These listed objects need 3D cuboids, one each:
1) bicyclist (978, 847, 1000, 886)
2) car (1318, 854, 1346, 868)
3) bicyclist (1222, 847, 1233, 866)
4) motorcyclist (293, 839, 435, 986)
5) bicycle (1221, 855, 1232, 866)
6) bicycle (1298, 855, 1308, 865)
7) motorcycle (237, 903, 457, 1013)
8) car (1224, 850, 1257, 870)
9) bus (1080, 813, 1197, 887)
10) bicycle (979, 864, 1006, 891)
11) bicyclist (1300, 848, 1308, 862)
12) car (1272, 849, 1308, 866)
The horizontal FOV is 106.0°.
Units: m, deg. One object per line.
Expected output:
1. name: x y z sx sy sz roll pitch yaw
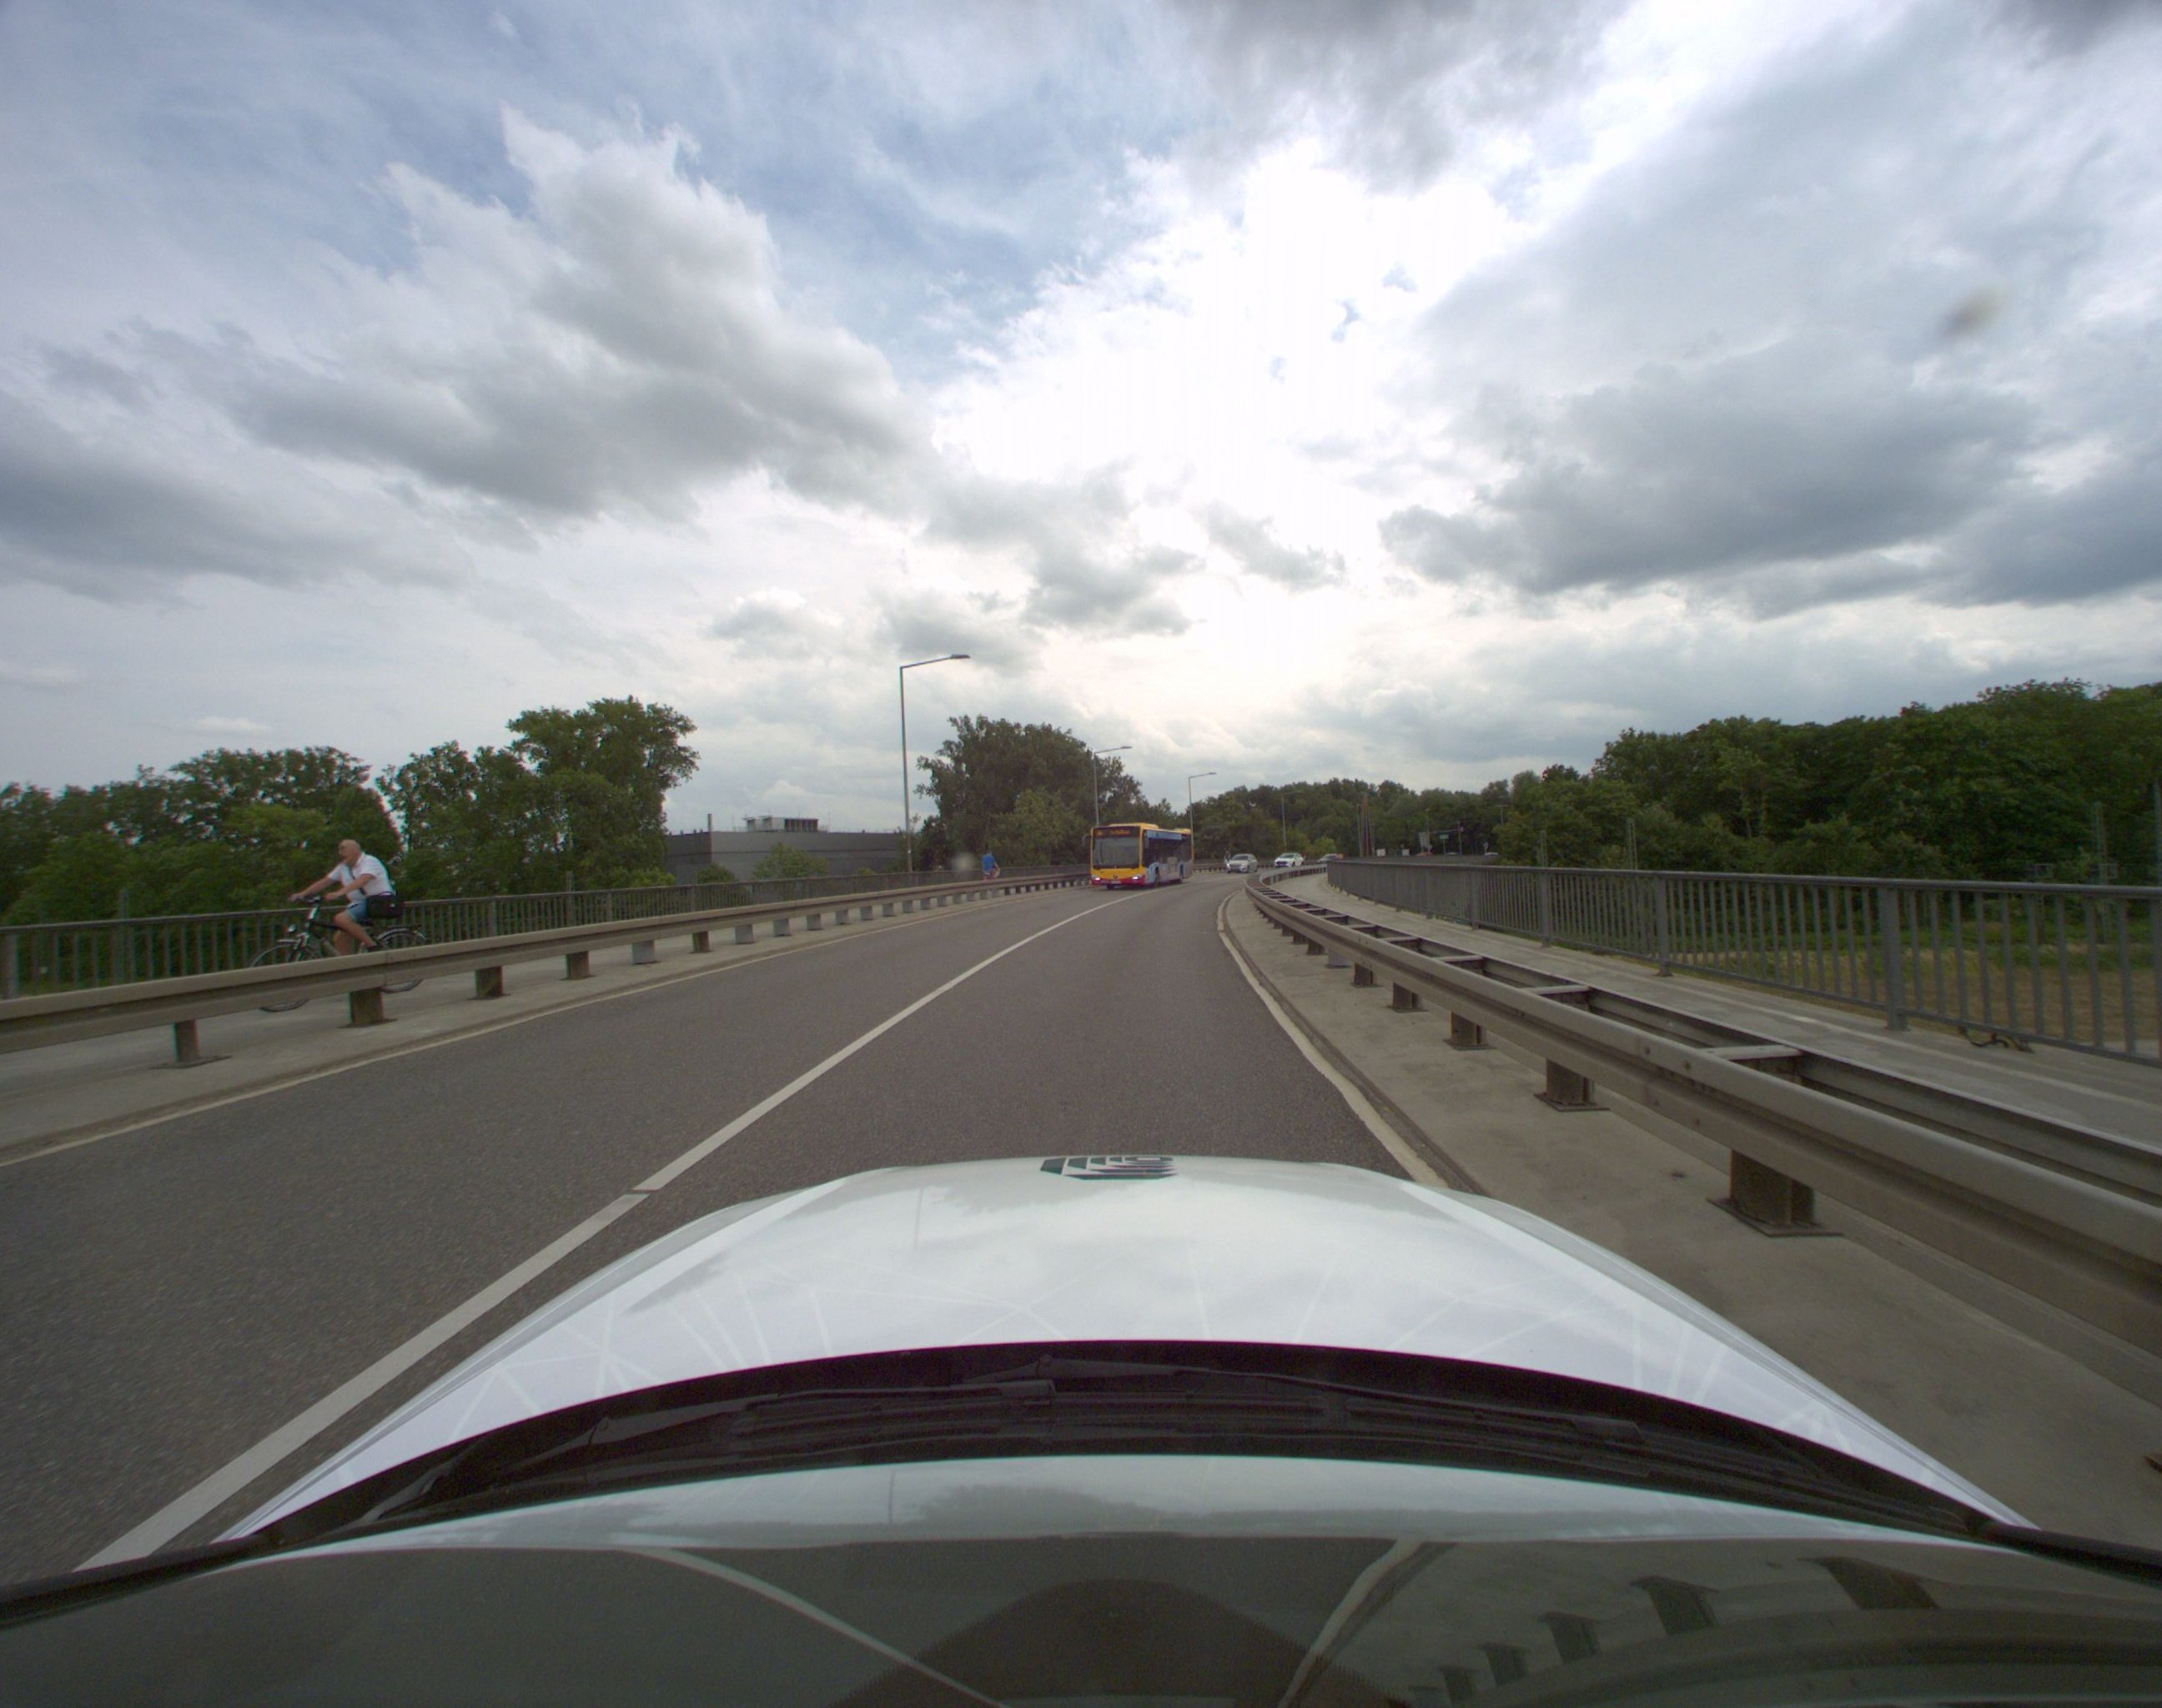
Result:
1. bicyclist: -3.703 0.503 32.785 0.605 1.540 0.761 -1 -1 19
2. car: 27.747 0.735 89.973 1.791 1.477 4.410 -1 0 34
3. bicyclist: 14.160 0.246 78.595 0.841 1.808 0.801 -1 -1 21
4. motorcyclist: -7.816 0.611 8.916 0.806 1.529 0.825 0 0 3
5. bicycle: 14.046 0.619 78.621 0.640 1.067 1.770 -1 0 21
6. bicycle: 26.281 0.713 96.325 0.629 1.174 1.918 -1 0 29
7. motorcycle: -7.843 1.067 8.839 0.623 0.963 1.842 -1 0 4
8. car: 13.372 0.487 68.071 1.802 1.620 4.422 -1 0 23
9. bus: 3.381 -0.165 42.336 3.008 3.233 13.010 -1 0 18
10. bicycle: -3.580 0.949 32.981 0.489 1.045 1.817 -1 0 14
11. bicyclist: 26.373 0.070 96.354 0.764 1.631 0.653 -1 -2 31
12. car: 20.426 0.323 79.617 1.922 1.593 4.804 -1 0 34
